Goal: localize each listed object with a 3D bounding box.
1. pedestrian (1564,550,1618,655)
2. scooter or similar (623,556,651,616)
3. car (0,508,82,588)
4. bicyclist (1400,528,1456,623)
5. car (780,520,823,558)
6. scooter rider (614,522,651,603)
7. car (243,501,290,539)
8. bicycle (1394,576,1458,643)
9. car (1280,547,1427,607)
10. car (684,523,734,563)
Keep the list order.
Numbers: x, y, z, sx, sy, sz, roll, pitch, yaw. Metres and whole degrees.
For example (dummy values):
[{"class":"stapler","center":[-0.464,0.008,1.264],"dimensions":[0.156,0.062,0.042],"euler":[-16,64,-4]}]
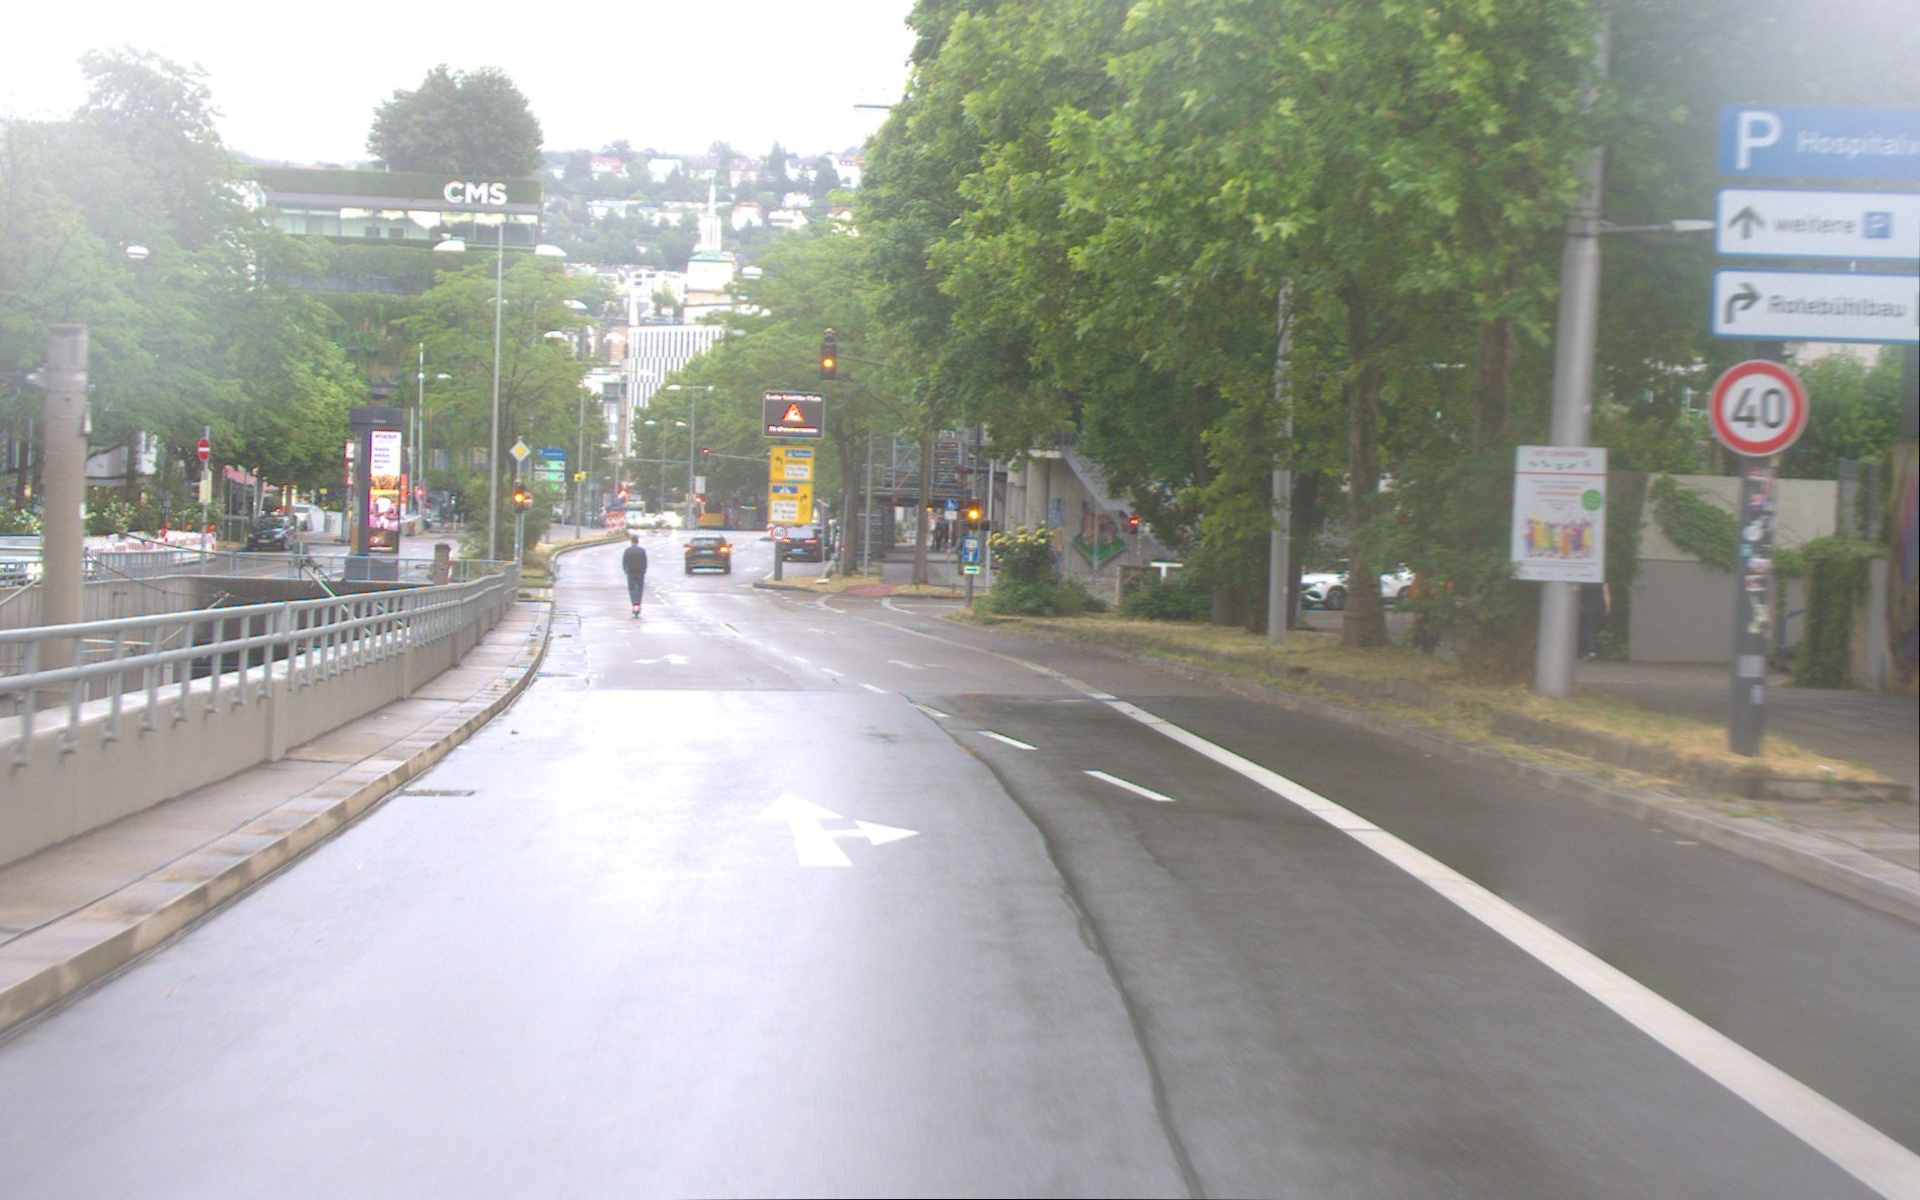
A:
[{"class":"pedestrian","center":[11.215,0.035,61.119],"dimensions":[0.807,1.858,1.056],"euler":[1,1,3]},{"class":"scooter or similar","center":[-7.916,-0.360,84.170],"dimensions":[0.546,1.414,1.956],"euler":[2,1,-8]},{"class":"car","center":[-21.343,-1.213,78.288],"dimensions":[1.836,1.707,4.578],"euler":[1,1,-5]},{"class":"bicyclist","center":[8.166,-0.424,60.018],"dimensions":[0.806,1.622,1.046],"euler":[1,1,1]},{"class":"car","center":[-7.386,-2.840,160.272],"dimensions":[1.901,1.678,3.911],"euler":[2,1,-2]},{"class":"scooter rider","center":[-7.998,-0.918,84.020],"dimensions":[0.808,1.941,0.822],"euler":[2,1,-6]},{"class":"car","center":[-31.743,-3.685,157.465],"dimensions":[1.780,1.550,3.895],"euler":[2,3,-7]},{"class":"bicycle","center":[8.144,0.158,60.118],"dimensions":[0.806,1.108,2.198],"euler":[1,1,1]},{"class":"car","center":[12.342,-0.720,107.636],"dimensions":[4.343,1.678,1.752],"euler":[2,1,-31]},{"class":"car","center":[-9.927,-2.261,135.736],"dimensions":[1.745,1.514,4.107],"euler":[2,1,-7]}]
